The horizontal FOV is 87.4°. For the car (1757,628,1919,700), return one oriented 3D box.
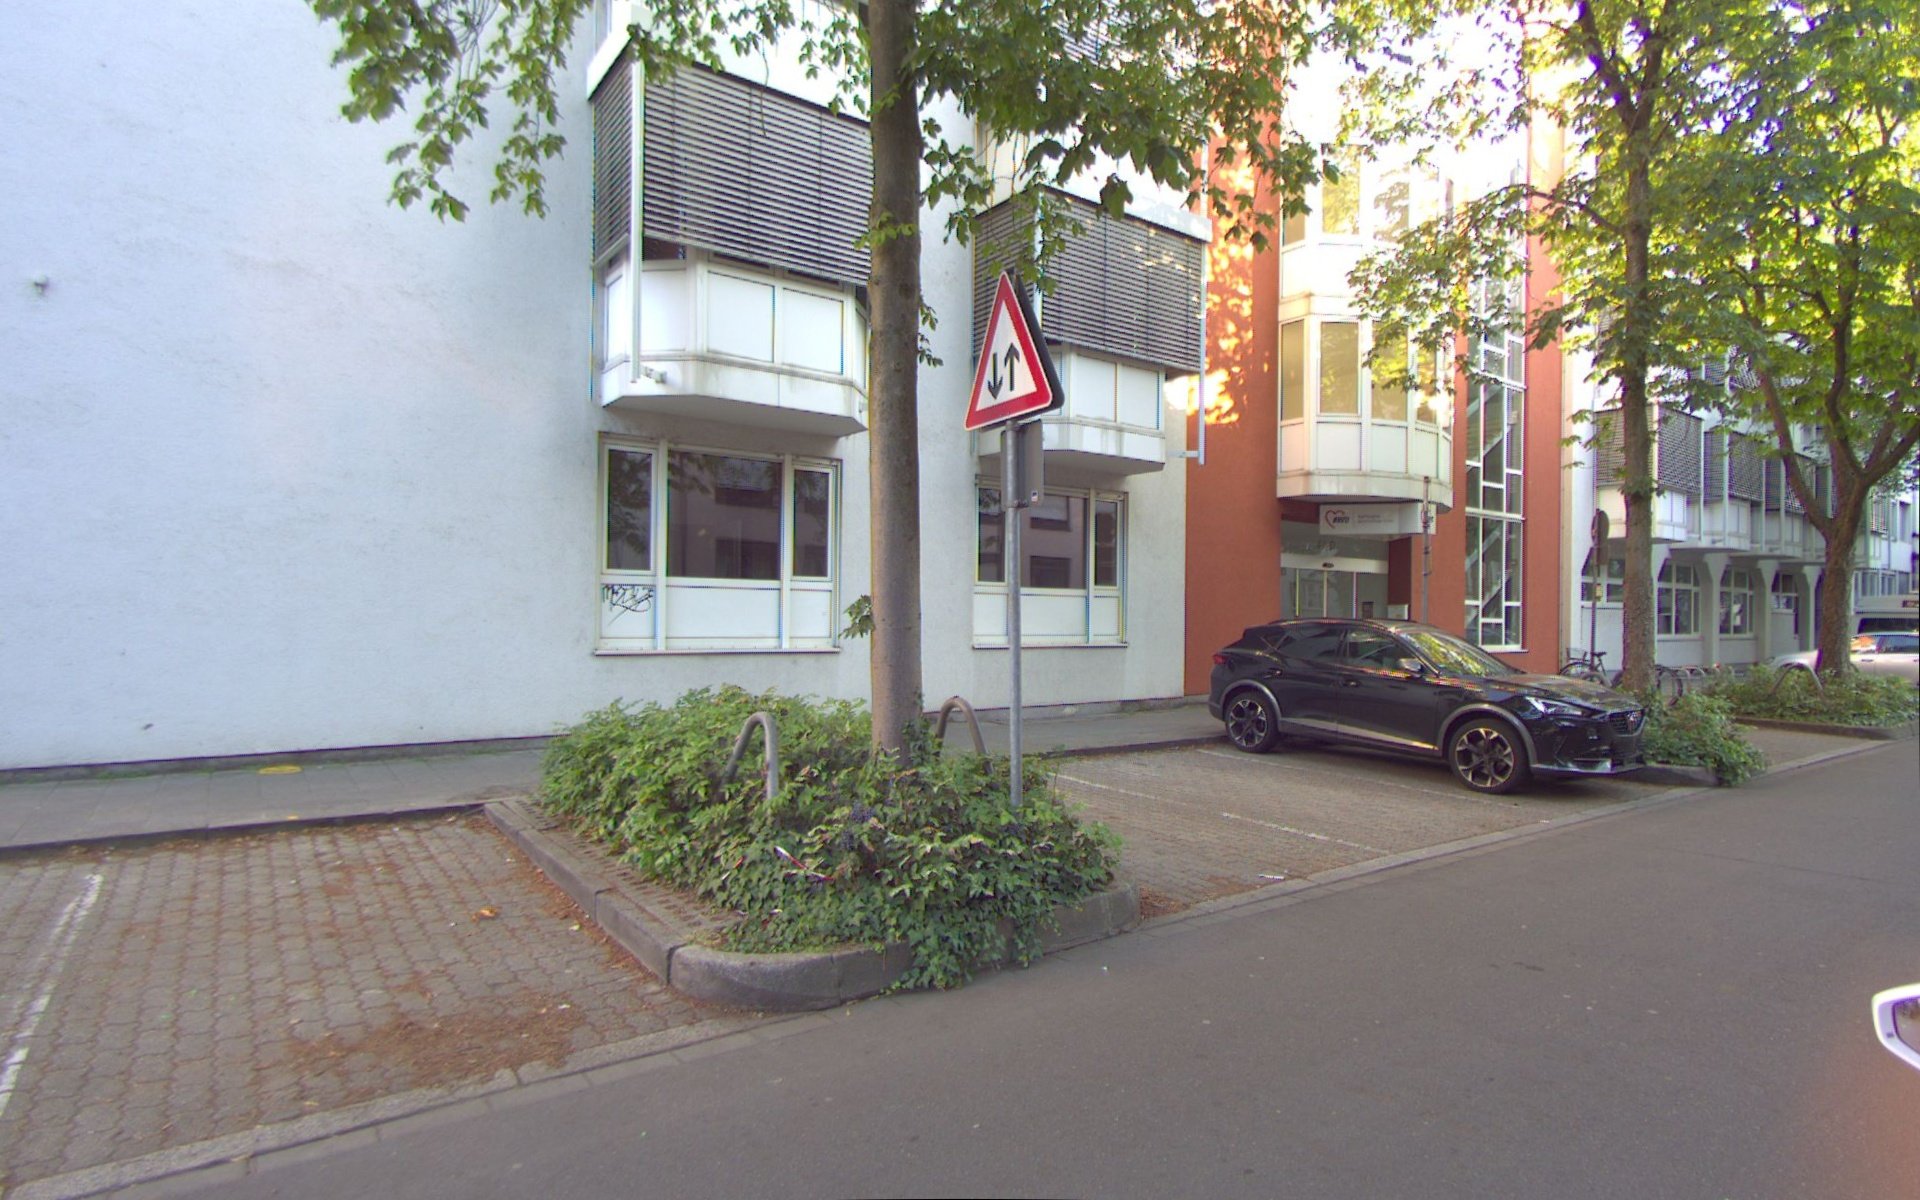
[{"bbox_3d":[21.161,1.450,23.239,1.767,1.537,3.942,1,-1,-35],"label":"car"}]

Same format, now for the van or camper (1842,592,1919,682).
[{"bbox_3d":[27.902,1.041,28.040,1.981,2.511,4.632,1,-1,-36],"label":"van or camper"}]

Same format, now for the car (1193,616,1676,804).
[{"bbox_3d":[4.717,0.959,10.613,1.768,1.537,4.325,1,-1,-35],"label":"car"}]
